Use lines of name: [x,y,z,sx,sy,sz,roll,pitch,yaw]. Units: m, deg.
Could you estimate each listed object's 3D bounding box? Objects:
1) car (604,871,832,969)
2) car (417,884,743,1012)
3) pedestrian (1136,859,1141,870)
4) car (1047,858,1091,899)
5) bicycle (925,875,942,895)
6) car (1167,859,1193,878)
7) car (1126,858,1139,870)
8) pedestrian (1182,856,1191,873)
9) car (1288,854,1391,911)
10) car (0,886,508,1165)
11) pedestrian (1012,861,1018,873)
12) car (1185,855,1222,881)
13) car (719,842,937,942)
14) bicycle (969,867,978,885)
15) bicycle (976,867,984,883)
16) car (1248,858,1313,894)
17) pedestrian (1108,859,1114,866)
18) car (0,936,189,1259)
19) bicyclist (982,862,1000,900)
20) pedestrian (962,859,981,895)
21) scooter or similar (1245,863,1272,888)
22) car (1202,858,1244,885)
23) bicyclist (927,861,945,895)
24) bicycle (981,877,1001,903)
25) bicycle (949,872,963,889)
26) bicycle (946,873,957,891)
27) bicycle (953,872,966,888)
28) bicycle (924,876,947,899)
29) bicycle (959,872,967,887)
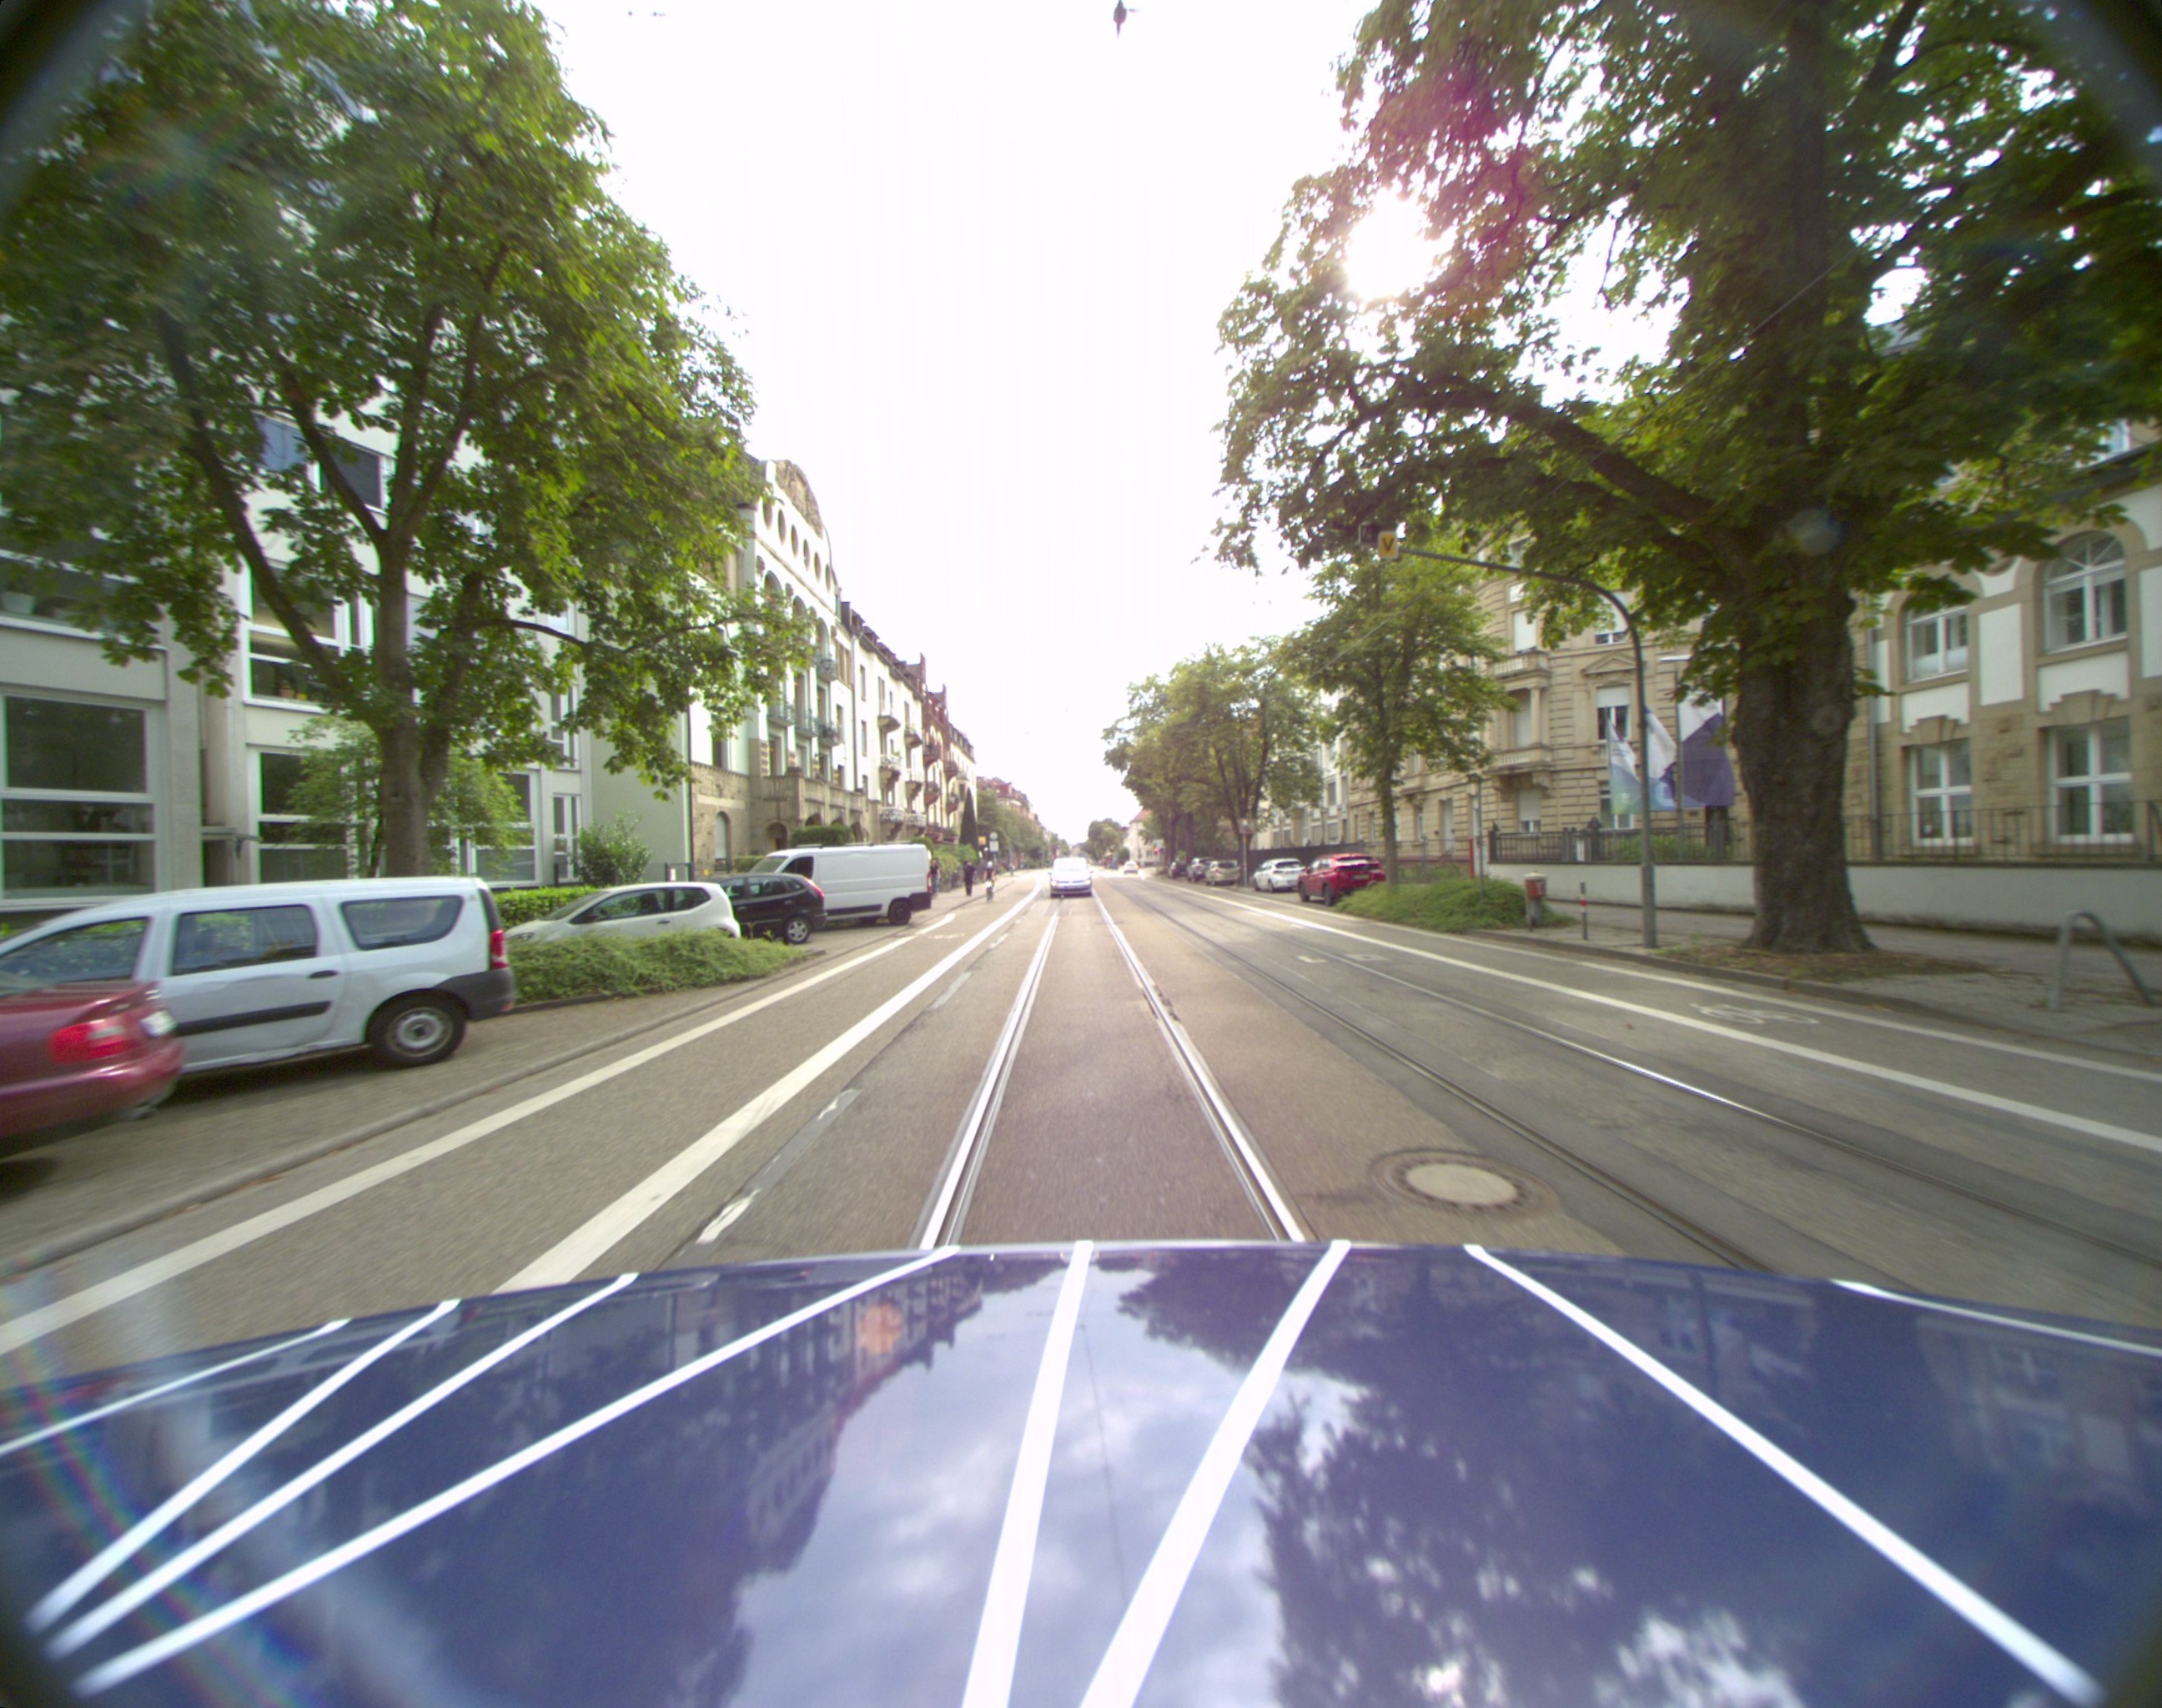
car: [-7.581,1.290,16.128,1.685,1.639,3.968,-2,0,45]
car: [-7.935,1.353,12.324,1.685,1.502,4.100,-2,0,45]
pedestrian: [8.765,1.592,115.877,0.654,1.680,0.711,-2,0,-4]
car: [-0.485,1.063,34.383,1.767,1.660,4.329,-3,0,0]
bicycle: [-7.248,1.520,37.278,0.387,0.902,1.665,-1,0,4]
car: [8.322,1.239,64.161,1.724,1.416,4.166,-4,0,1]
car: [6.183,1.206,91.926,1.574,1.407,4.001,0,0,3]
pedestrian: [10.745,1.073,77.182,0.707,1.725,0.701,-3,0,-5]
car: [8.580,0.881,25.653,1.726,1.645,4.542,-4,0,-1]
car: [-7.249,1.202,5.976,1.685,1.658,4.117,-2,0,44]
pedestrian: [-8.807,1.731,101.108,0.721,1.650,0.759,2,0,-4]
car: [8.340,0.947,52.131,1.715,1.664,4.357,-2,0,-1]
car: [-6.719,0.897,20.544,4.968,2.277,2.378,-3,0,-43]
bicycle: [-7.277,1.467,51.434,0.392,1.135,1.921,0,0,0]
bicycle: [-7.189,1.517,54.150,0.392,1.096,1.759,0,0,0]
car: [8.919,0.929,34.341,1.726,1.415,4.023,-4,0,-1]
pedestrian: [5.374,1.578,135.468,1.033,1.229,0.723,-3,0,-2]
car: [-6.979,1.309,3.182,3.983,1.424,1.685,-2,0,-43]
bicyclist: [-3.758,1.120,31.850,0.640,1.561,1.110,-1,0,-3]
pedestrian: [-5.268,1.111,36.645,0.787,1.722,0.896,1,0,-1]
scooter or similar: [8.739,1.047,37.441,0.563,1.215,1.321,-2,0,-24]
car: [8.275,1.004,44.481,1.605,1.459,4.079,-2,0,-1]
bicyclist: [-6.418,1.066,33.706,0.649,1.461,0.800,1,0,-3]
bicycle: [-3.753,1.481,31.825,0.640,0.975,2.071,-1,0,-3]
bicycle: [-7.168,1.510,43.622,0.487,0.902,1.665,-1,0,3]
bicycle: [-7.114,1.542,41.710,0.487,0.902,1.663,-1,0,-12]
bicycle: [-7.274,1.529,45.406,0.487,0.902,1.665,-1,0,0]
bicycle: [-6.418,1.463,33.629,0.690,0.956,2.036,1,0,-3]
bicycle: [-7.320,1.569,47.218,0.278,0.847,1.198,-1,1,0]
